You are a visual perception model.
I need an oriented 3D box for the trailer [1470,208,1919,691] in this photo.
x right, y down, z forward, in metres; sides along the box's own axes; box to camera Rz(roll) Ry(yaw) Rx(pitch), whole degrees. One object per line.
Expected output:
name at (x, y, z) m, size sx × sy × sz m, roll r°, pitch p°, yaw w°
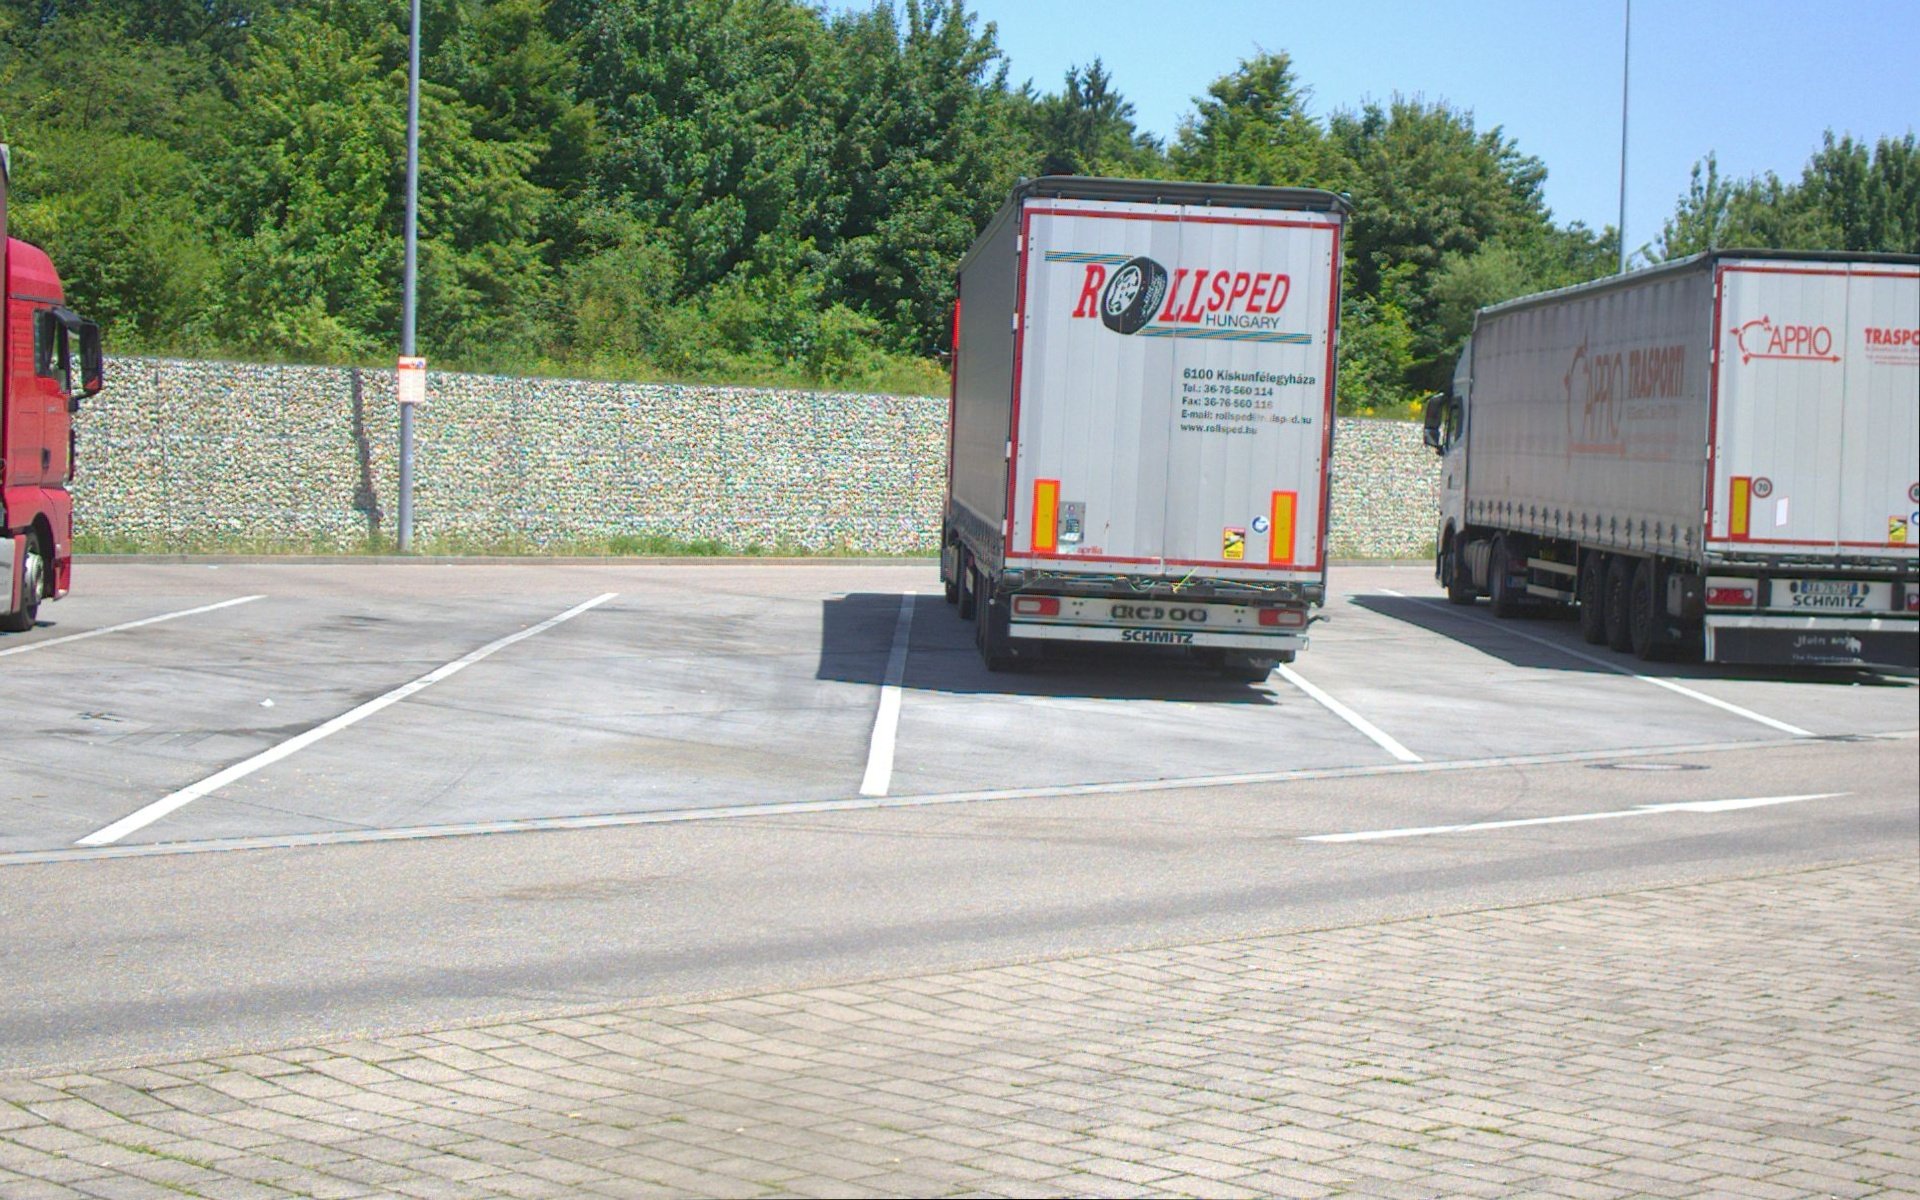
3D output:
trailer at (8.118, -1.589, 38.160) m, size 2.681 × 4.437 × 12.831 m, roll 1°, pitch 2°, yaw -1°

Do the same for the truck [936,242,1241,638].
truck at (1.279, -1.707, 37.762) m, size 2.871 × 3.967 × 6.030 m, roll 1°, pitch 2°, yaw -2°

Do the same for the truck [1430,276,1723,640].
truck at (7.984, -1.839, 45.232) m, size 2.661 × 4.437 × 5.864 m, roll 1°, pitch 2°, yaw -1°

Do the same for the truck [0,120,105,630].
truck at (-9.170, -1.847, 28.361) m, size 2.805 × 4.119 × 5.894 m, roll 1°, pitch 2°, yaw -1°

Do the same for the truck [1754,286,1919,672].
truck at (11.733, -1.321, 38.779) m, size 2.587 × 4.211 × 11.971 m, roll 1°, pitch 1°, yaw -1°

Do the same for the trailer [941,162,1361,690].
trailer at (1.430, -1.510, 31.962) m, size 2.897 × 4.000 × 11.319 m, roll 1°, pitch 2°, yaw -2°
